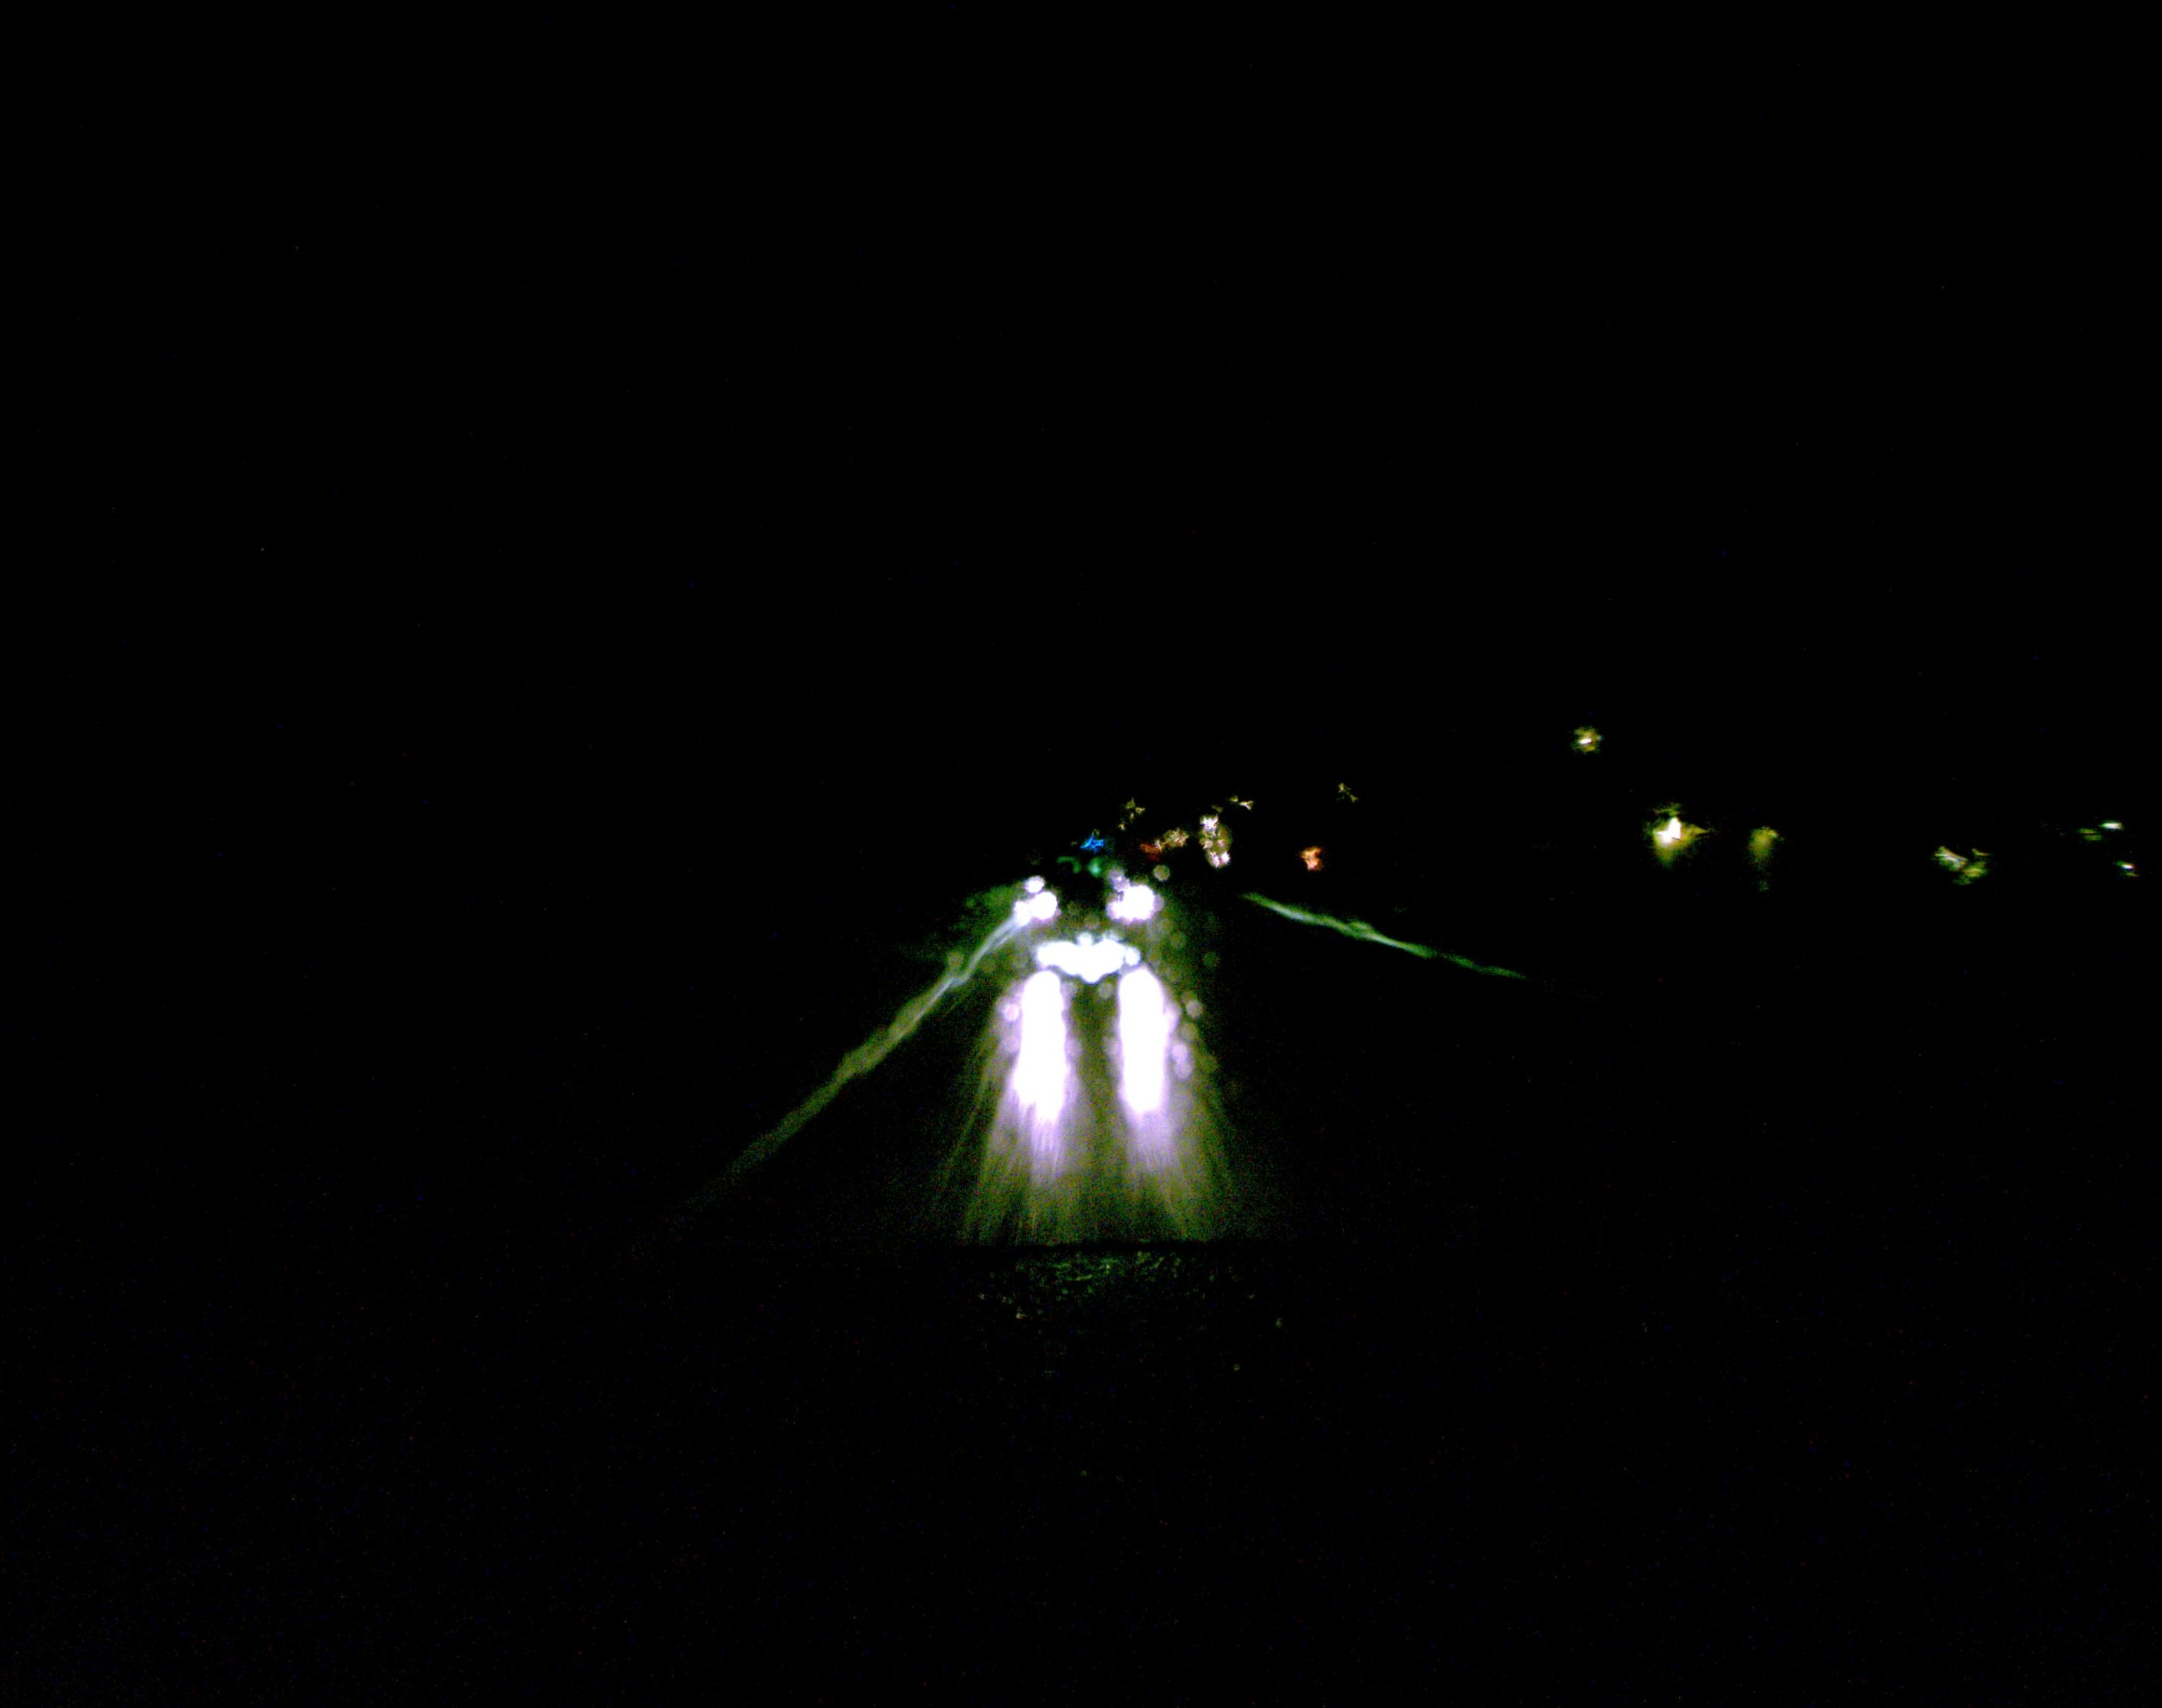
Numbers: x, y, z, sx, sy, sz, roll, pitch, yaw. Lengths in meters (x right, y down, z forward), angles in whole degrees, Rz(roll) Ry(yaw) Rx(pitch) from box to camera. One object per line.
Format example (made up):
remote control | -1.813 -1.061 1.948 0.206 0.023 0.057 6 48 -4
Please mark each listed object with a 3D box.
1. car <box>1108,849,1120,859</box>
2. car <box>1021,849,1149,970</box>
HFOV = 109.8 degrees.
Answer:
car | 6.435 0.011 148.265 1.796 2.010 4.578 2 0 -4
car | 0.077 0.817 13.103 1.790 1.684 4.219 -2 0 0
